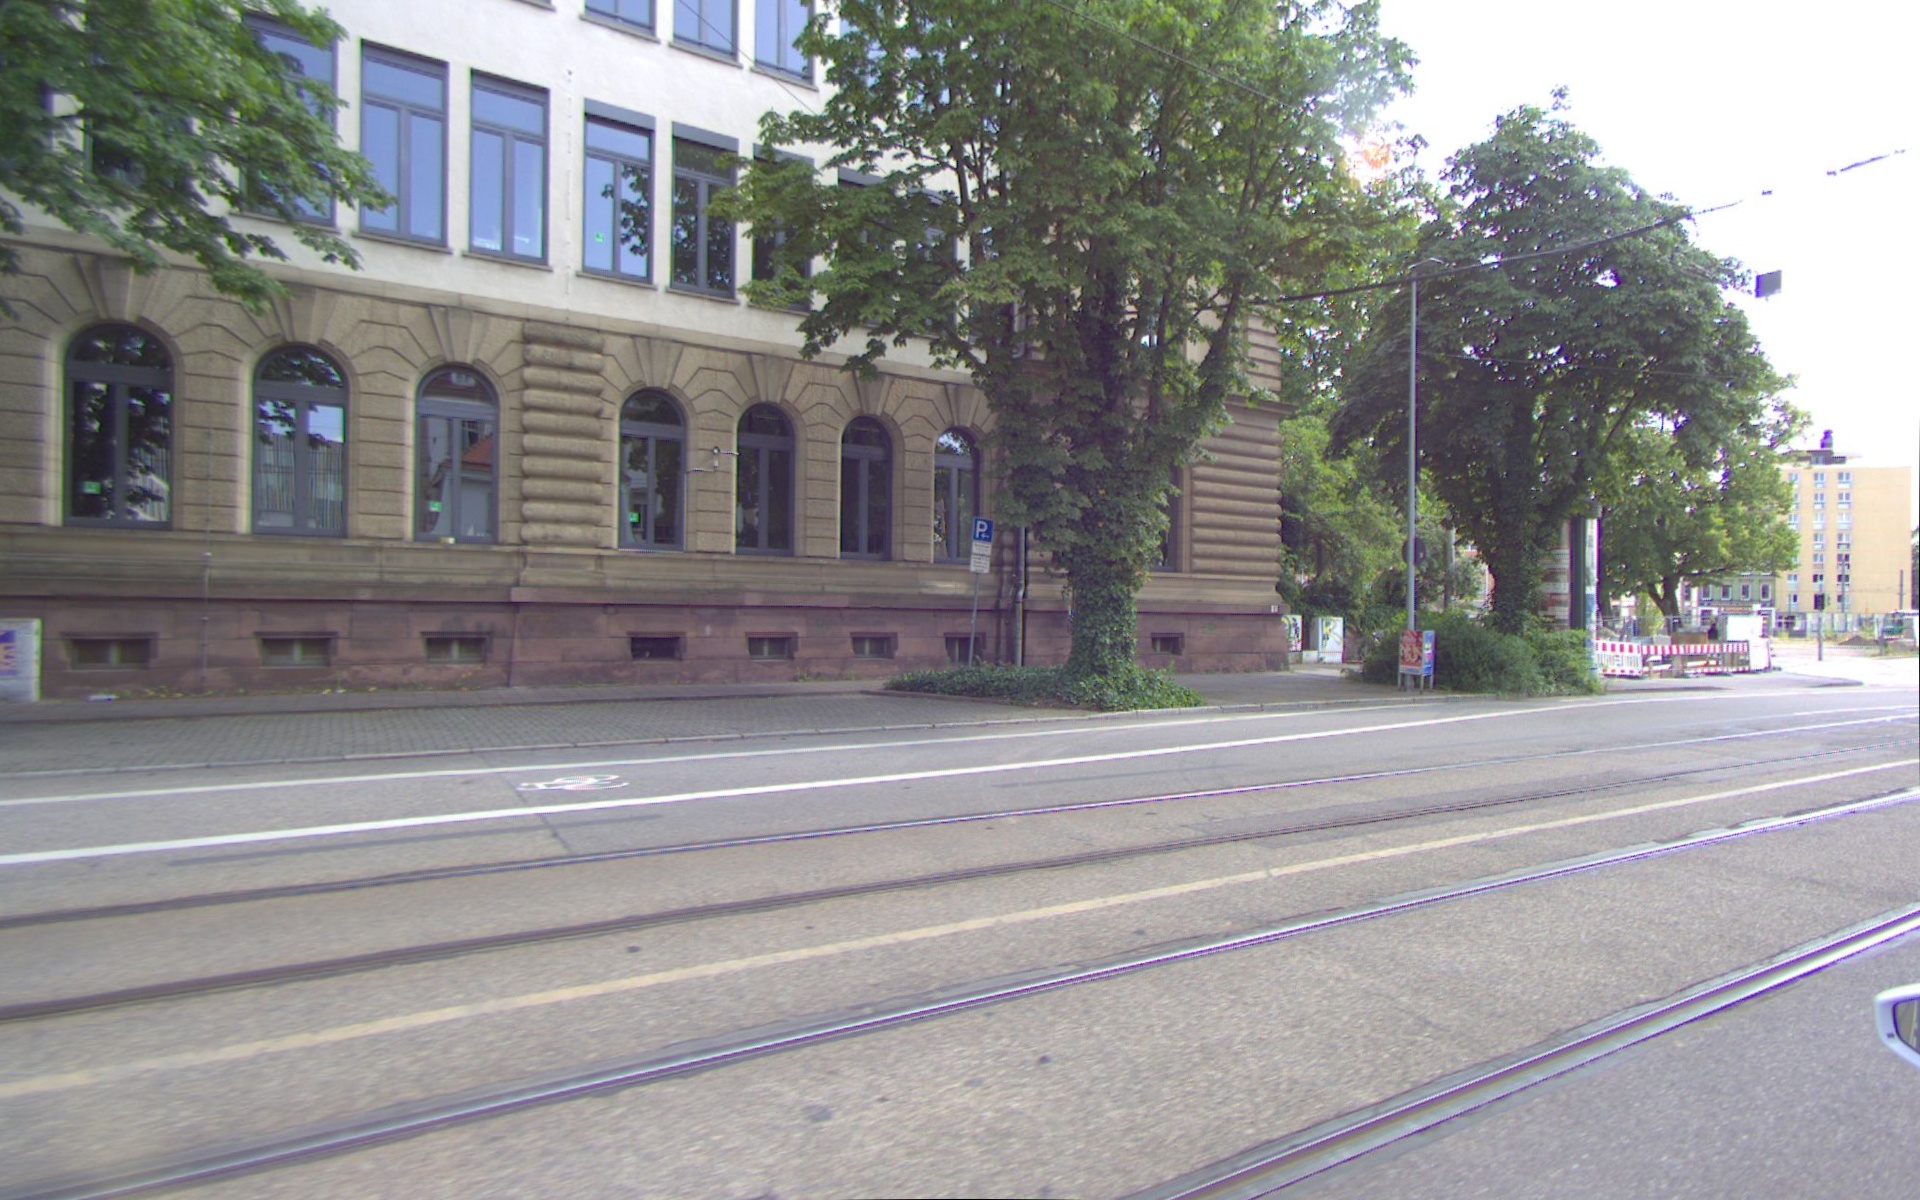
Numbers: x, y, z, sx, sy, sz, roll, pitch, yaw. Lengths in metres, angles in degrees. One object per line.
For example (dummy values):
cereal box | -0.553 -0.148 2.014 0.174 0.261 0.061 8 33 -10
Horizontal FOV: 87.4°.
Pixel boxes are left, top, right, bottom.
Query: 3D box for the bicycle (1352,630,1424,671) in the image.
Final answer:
bicycle | 13.823 1.616 32.513 0.722 1.184 2.102 1 0 -32

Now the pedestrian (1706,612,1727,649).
pedestrian | 34.971 1.396 46.445 0.776 1.674 0.578 0 -1 36

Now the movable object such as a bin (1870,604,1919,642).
movable object such as a bin | 65.763 1.599 69.798 3.951 2.608 2.631 1 -1 -29
